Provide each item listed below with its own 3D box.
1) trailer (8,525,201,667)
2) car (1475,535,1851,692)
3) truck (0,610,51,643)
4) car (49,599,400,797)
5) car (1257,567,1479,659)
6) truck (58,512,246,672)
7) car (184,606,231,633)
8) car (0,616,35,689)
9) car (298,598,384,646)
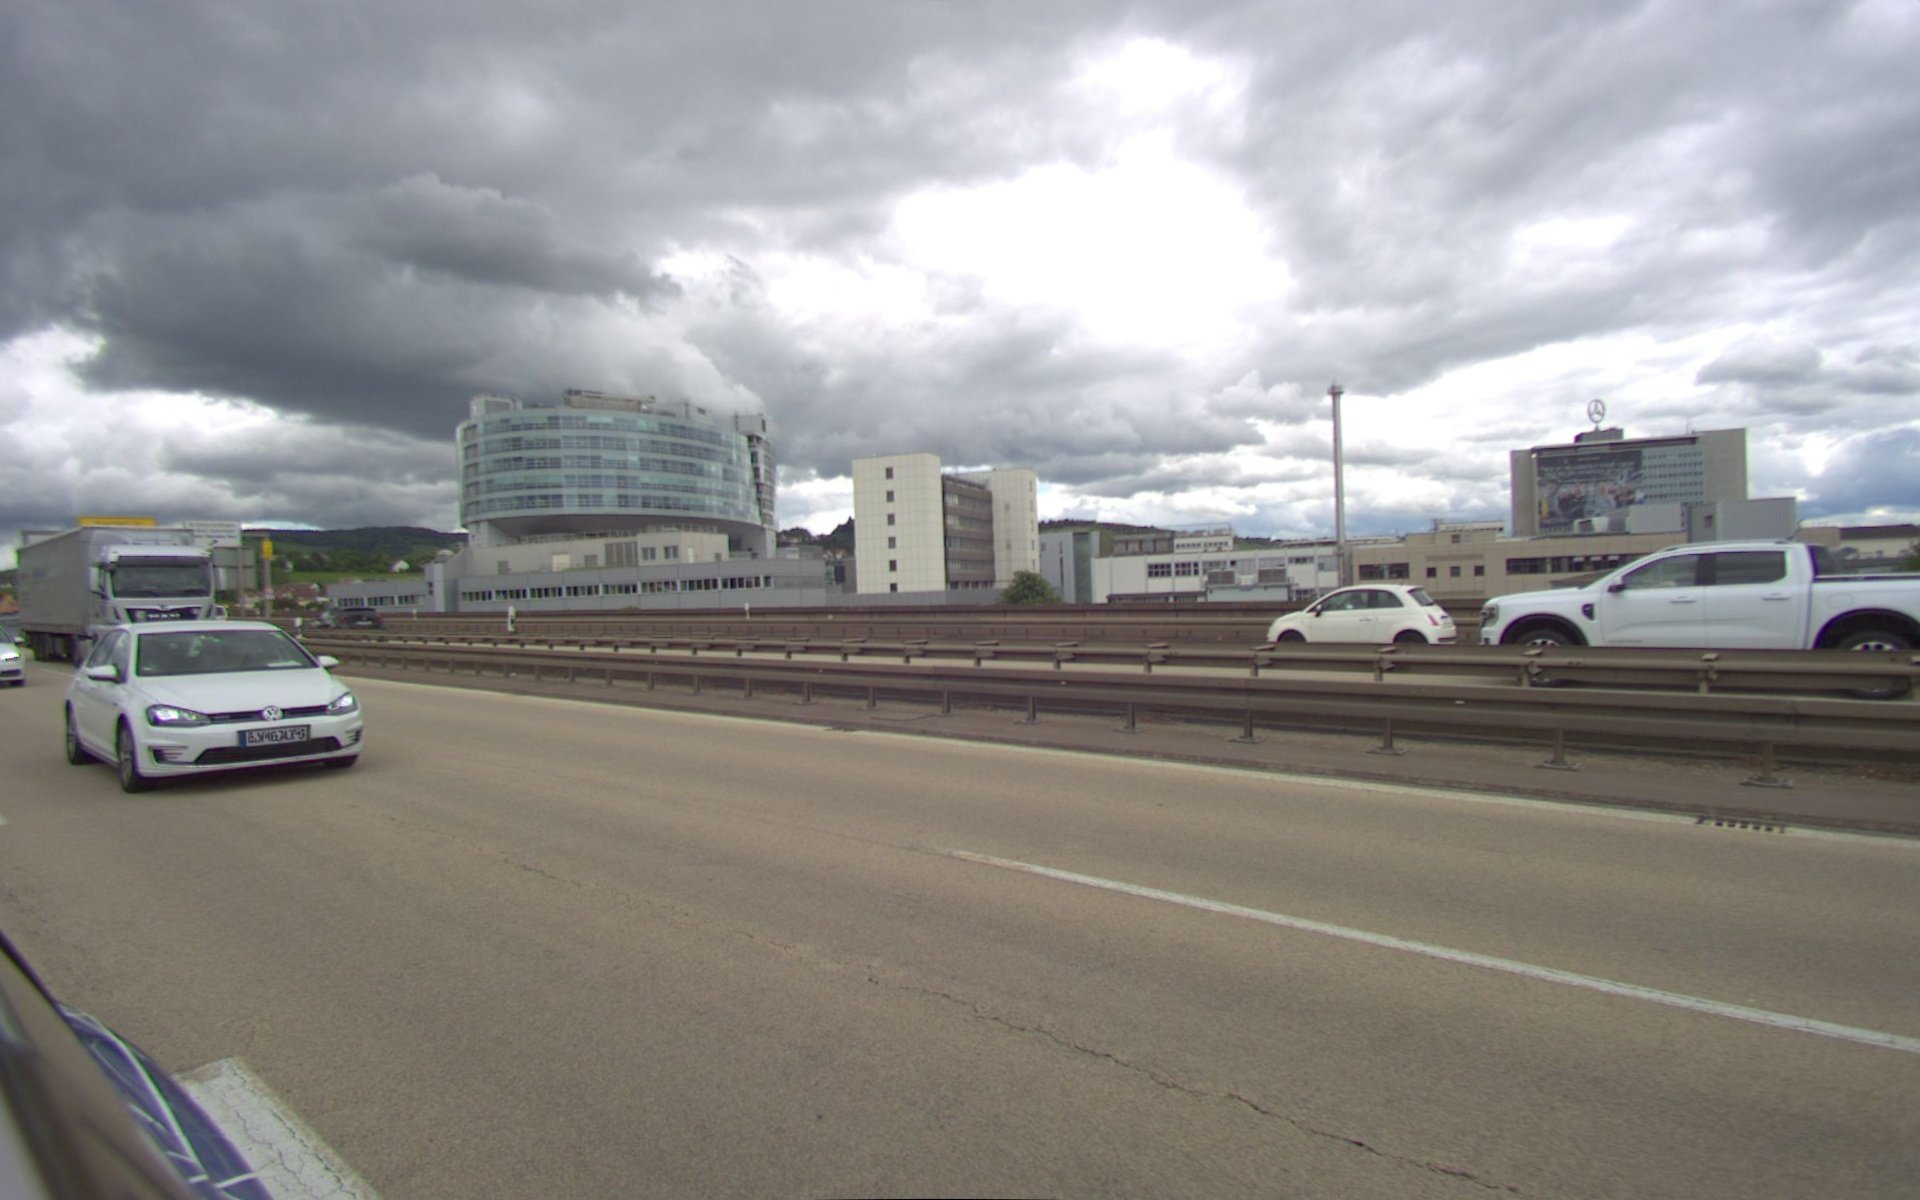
[{"bbox_3d":[-29.016,-0.103,34.016,11.760,4.056,3.149,-1,1,41],"label":"trailer"},{"bbox_3d":[8.952,0.149,13.078,3.773,1.732,1.768,-1,1,41],"label":"car"},{"bbox_3d":[-46.149,1.269,49.701,3.511,1.541,1.806,-1,0,41],"label":"truck"},{"bbox_3d":[-7.293,0.781,9.892,4.059,1.519,1.906,-1,0,41],"label":"car"},{"bbox_3d":[8.121,0.232,20.296,3.773,1.662,1.666,-1,1,41],"label":"car"},{"bbox_3d":[-23.036,-0.234,28.778,5.686,4.067,3.102,-1,1,41],"label":"truck"},{"bbox_3d":[-49.522,1.245,66.571,3.773,1.662,1.666,-1,1,41],"label":"car"},{"bbox_3d":[-22.154,1.152,22.454,4.059,1.519,1.906,-1,1,41],"label":"car"},{"bbox_3d":[-23.603,0.813,38.542,3.773,1.662,1.666,-1,1,41],"label":"car"}]
